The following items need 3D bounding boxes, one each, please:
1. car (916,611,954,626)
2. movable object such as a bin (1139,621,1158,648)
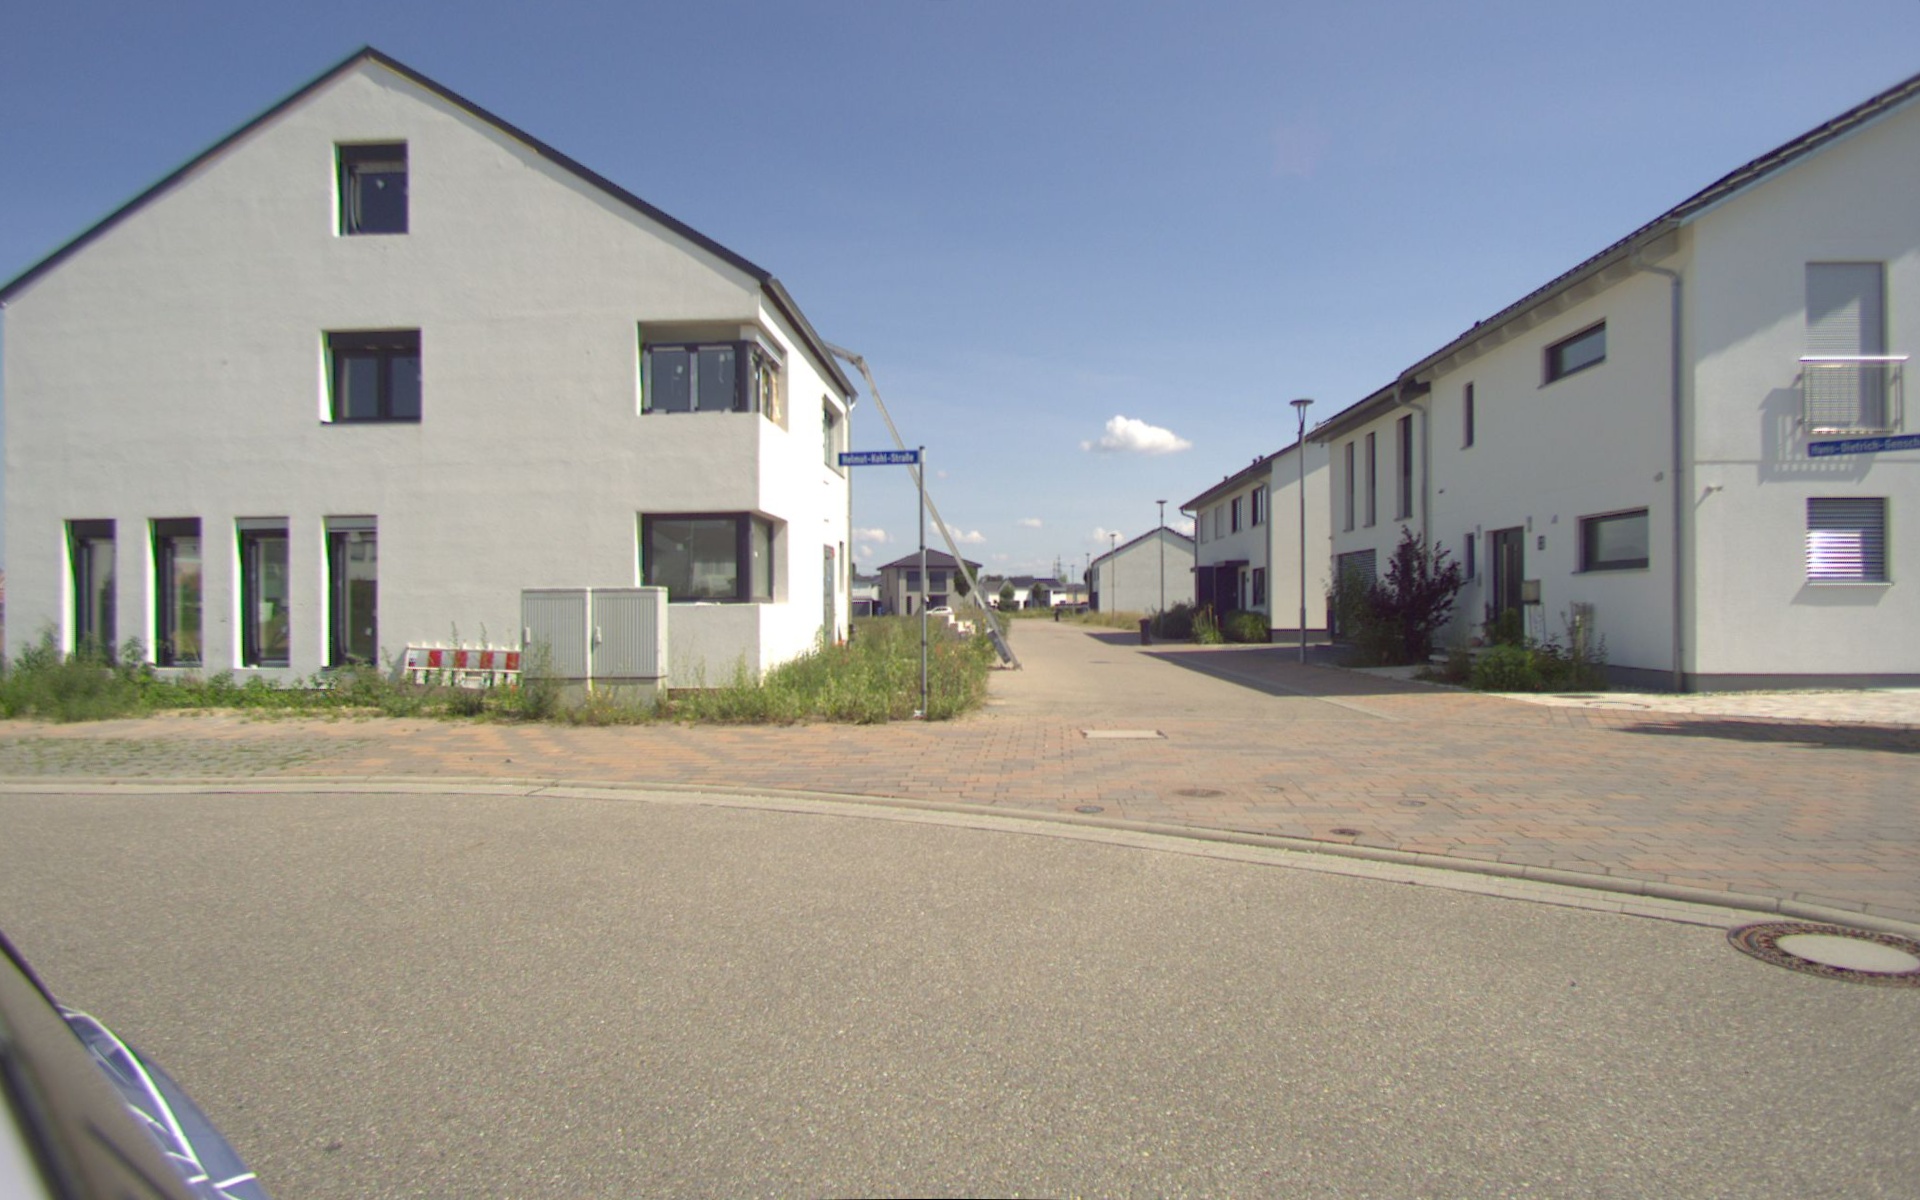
[{"bbox_3d":[-2.737,2.043,109.899,3.940,1.564,1.836,0,-1,-4],"label":"car"},{"bbox_3d":[6.498,1.194,34.844,0.590,0.928,0.461,-1,-1,4],"label":"movable object such as a bin"}]
